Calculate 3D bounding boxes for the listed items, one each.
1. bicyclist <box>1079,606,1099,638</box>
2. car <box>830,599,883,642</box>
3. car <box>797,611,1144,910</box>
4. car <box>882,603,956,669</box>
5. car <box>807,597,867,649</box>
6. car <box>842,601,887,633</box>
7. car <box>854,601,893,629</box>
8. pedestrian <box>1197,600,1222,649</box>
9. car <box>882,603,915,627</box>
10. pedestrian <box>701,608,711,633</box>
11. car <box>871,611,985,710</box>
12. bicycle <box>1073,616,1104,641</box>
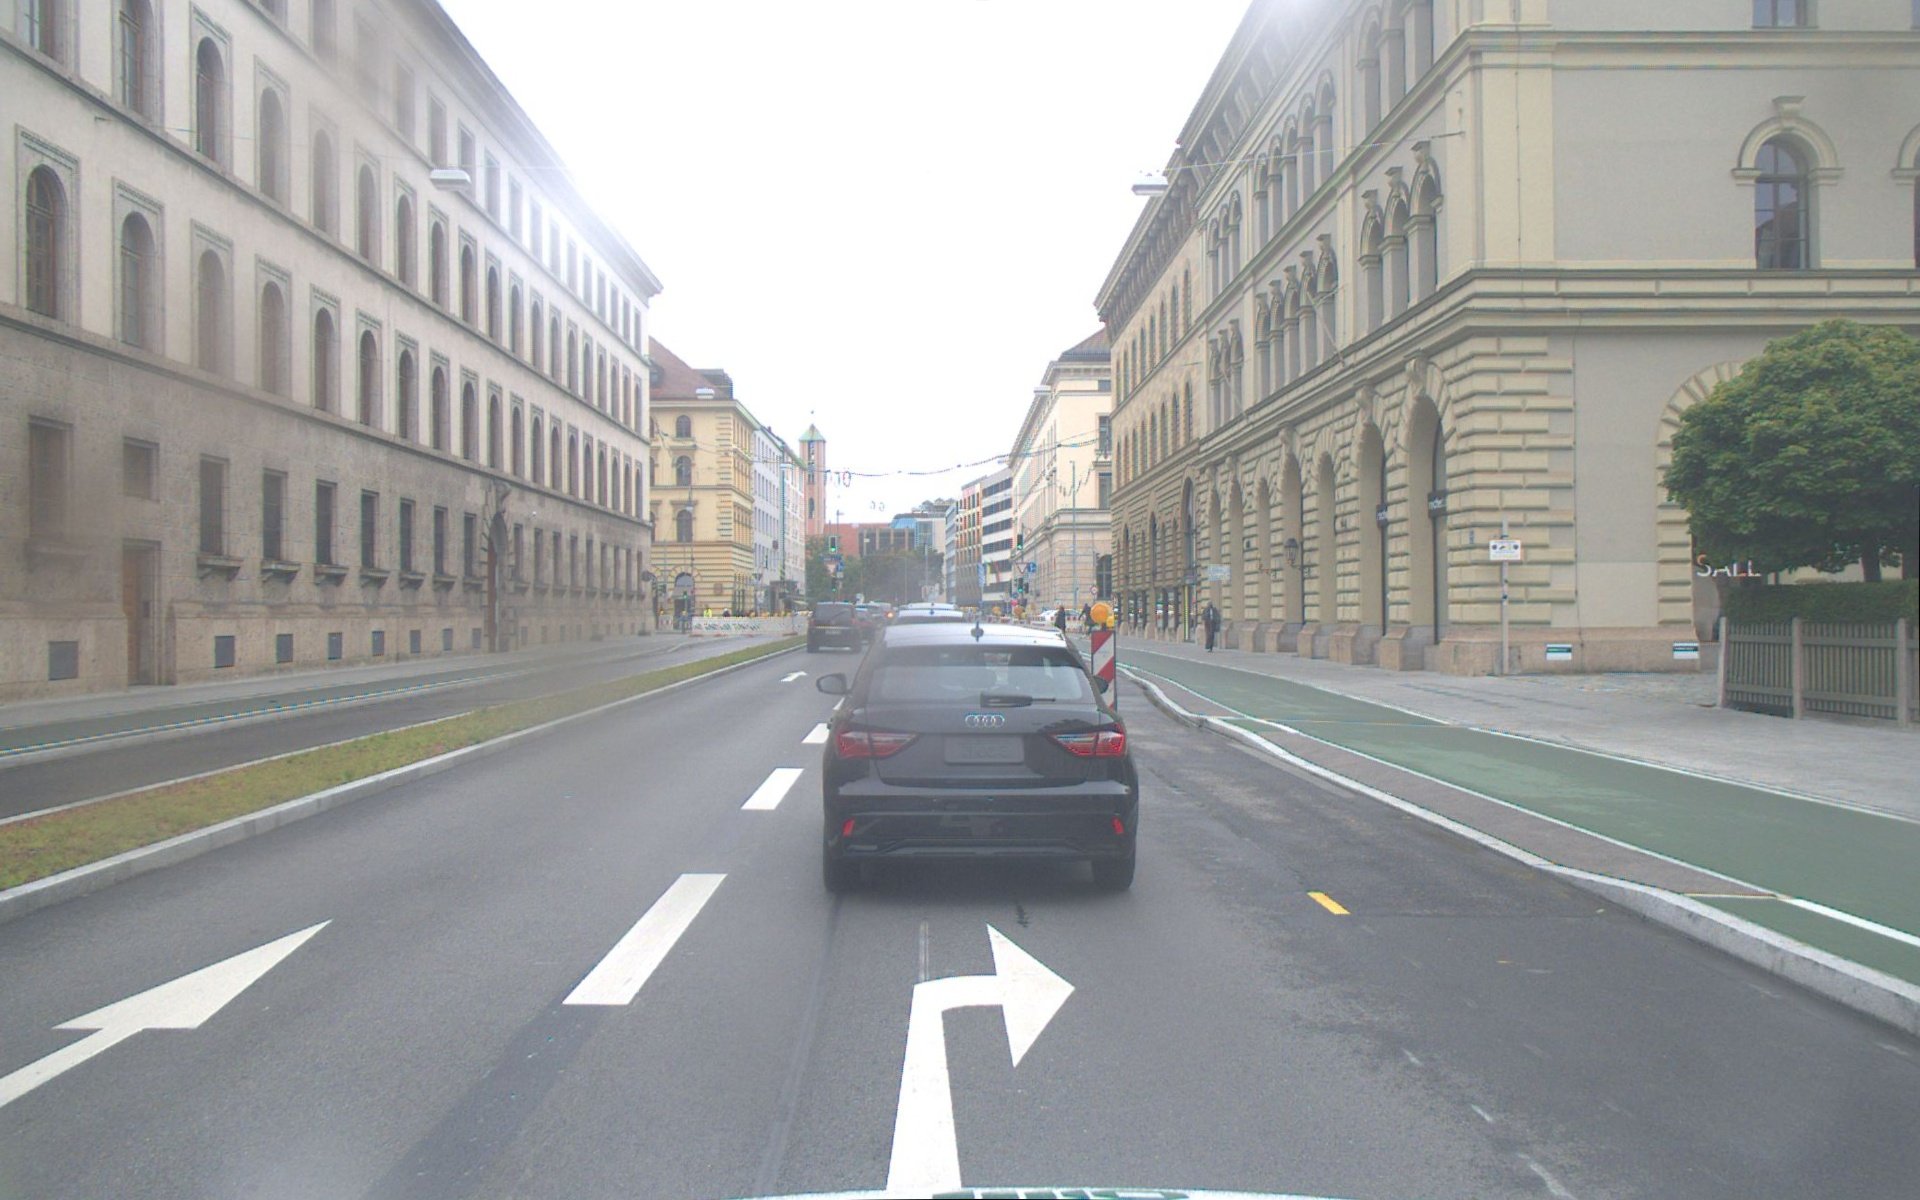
[{"bbox_3d":[6.269,1.070,80.458,0.699,1.526,0.750,0,0,-18],"label":"bicyclist"},{"bbox_3d":[-4.167,0.803,66.968,1.953,1.656,3.999,0,0,-1],"label":"car"},{"bbox_3d":[0.015,0.806,10.170,1.695,1.427,3.999,1,0,-1],"label":"car"},{"bbox_3d":[-0.985,0.823,40.074,1.695,1.486,3.999,1,0,-1],"label":"car"},{"bbox_3d":[-4.025,0.727,54.516,1.729,1.644,4.029,1,0,-1],"label":"car"},{"bbox_3d":[-4.518,0.782,78.717,1.953,1.469,3.999,0,0,-1],"label":"car"},{"bbox_3d":[-4.737,0.798,90.793,1.953,1.469,3.999,0,0,-1],"label":"car"},{"bbox_3d":[8.322,0.814,55.205,0.695,1.646,0.754,0,0,-2],"label":"pedestrian"},{"bbox_3d":[-3.864,0.956,104.219,1.953,1.469,3.999,0,0,-1],"label":"car"},{"bbox_3d":[-18.672,1.491,121.615,0.642,1.836,0.727,0,0,-2],"label":"pedestrian"},{"bbox_3d":[-0.512,0.926,26.893,1.695,1.427,3.999,1,0,-1],"label":"car"},{"bbox_3d":[6.245,1.371,80.534,0.717,1.177,2.161,0,0,-18],"label":"bicycle"}]
